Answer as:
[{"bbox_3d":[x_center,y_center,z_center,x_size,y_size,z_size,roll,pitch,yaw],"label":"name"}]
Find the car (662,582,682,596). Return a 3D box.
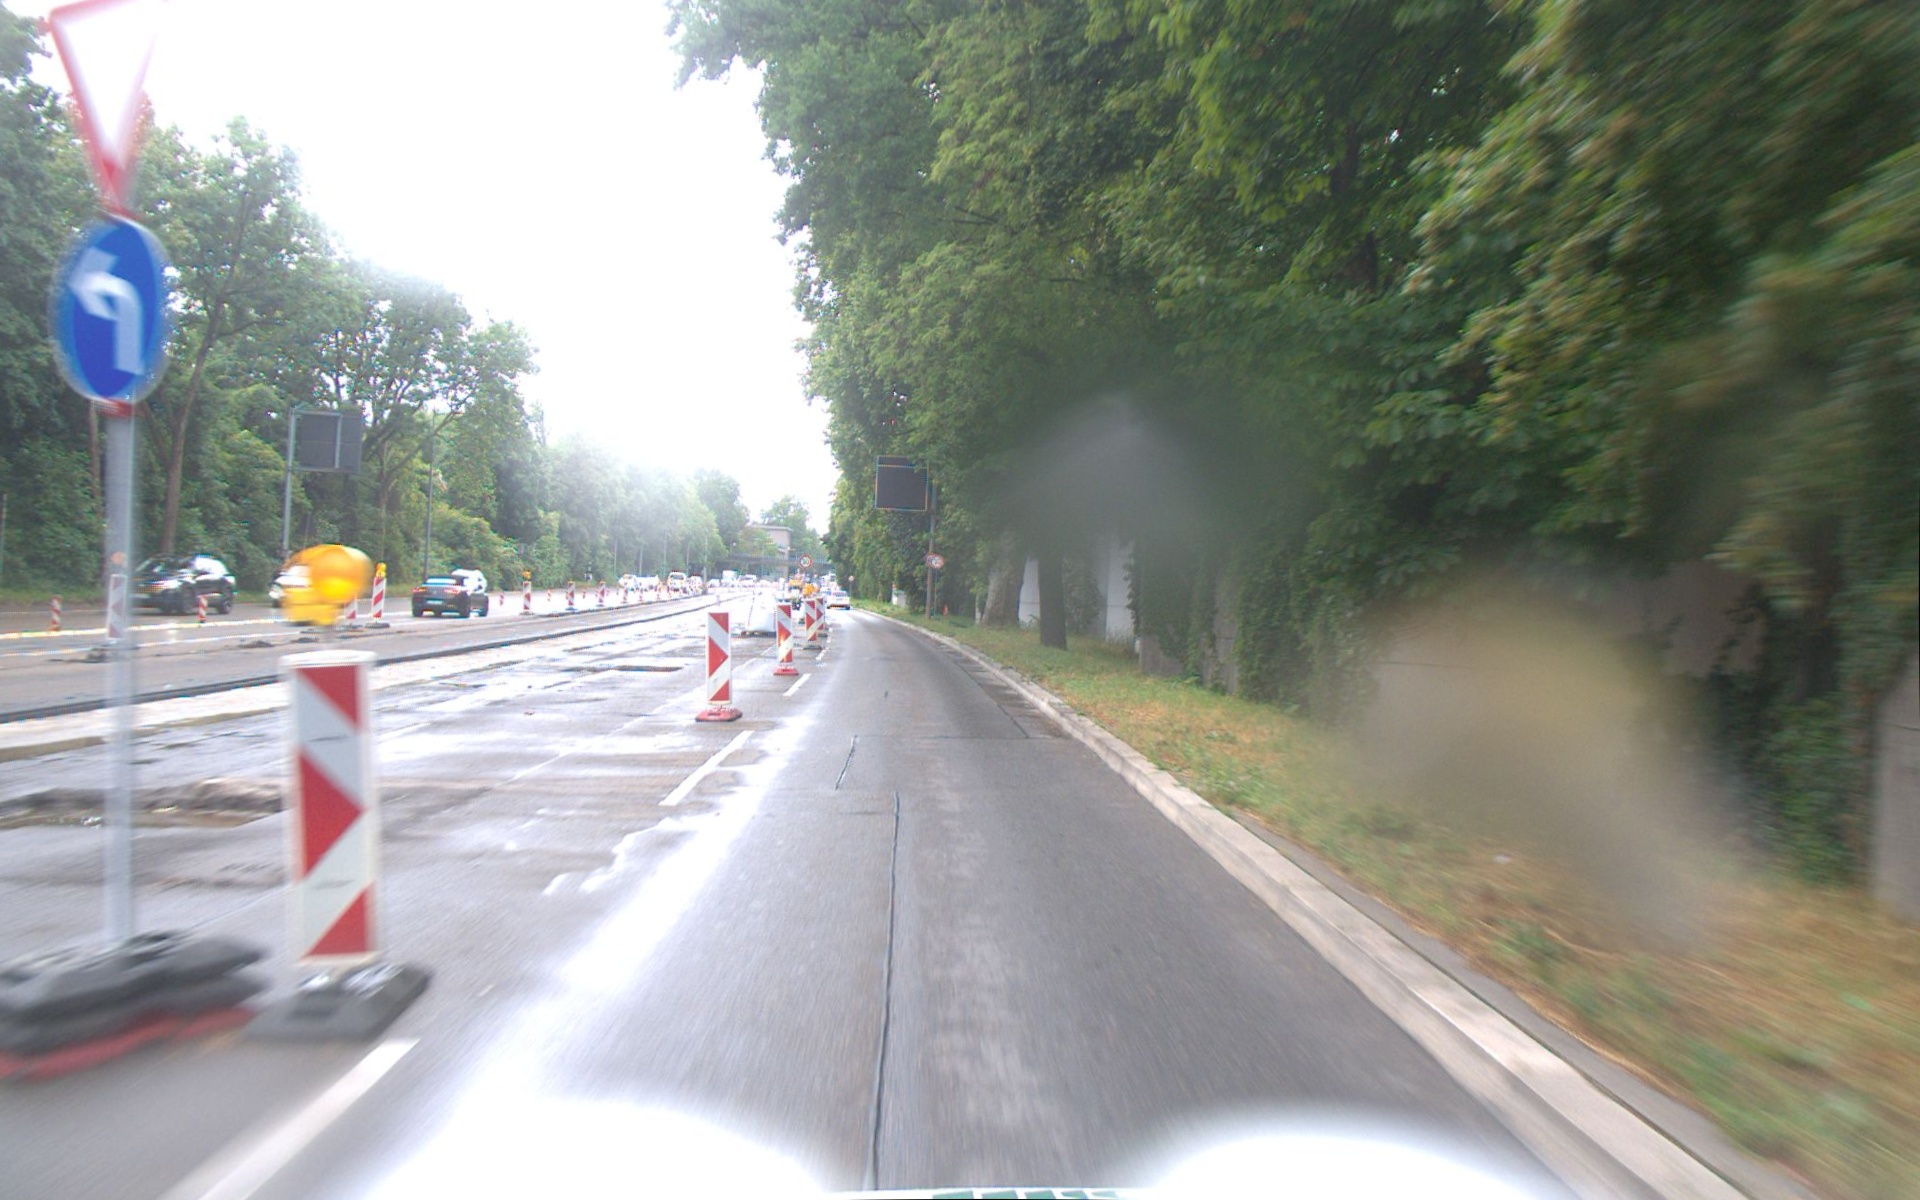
[{"bbox_3d":[-30.337,-1.154,174.253,1.783,1.379,4.200,1,1,-6],"label":"car"}]

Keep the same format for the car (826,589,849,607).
[{"bbox_3d":[-9.711,-0.183,130.984,1.664,1.359,3.487,1,0,-6],"label":"car"}]

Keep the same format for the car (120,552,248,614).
[{"bbox_3d":[-22.514,-0.487,48.200,1.742,1.692,4.911,0,0,-5],"label":"car"}]

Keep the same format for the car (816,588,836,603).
[{"bbox_3d":[-13.357,-0.462,164.883,1.817,1.458,3.729,1,0,-2],"label":"car"}]

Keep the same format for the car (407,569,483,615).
[{"bbox_3d":[-17.600,-0.287,56.684,1.576,1.429,4.037,3,0,-5],"label":"car"}]

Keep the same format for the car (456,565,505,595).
[{"bbox_3d":[-25.771,-1.074,88.987,1.633,1.568,4.154,0,0,-4],"label":"car"}]

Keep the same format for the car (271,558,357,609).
[{"bbox_3d":[-23.757,-0.608,60.961,1.742,1.781,4.376,2,0,-5],"label":"car"}]
